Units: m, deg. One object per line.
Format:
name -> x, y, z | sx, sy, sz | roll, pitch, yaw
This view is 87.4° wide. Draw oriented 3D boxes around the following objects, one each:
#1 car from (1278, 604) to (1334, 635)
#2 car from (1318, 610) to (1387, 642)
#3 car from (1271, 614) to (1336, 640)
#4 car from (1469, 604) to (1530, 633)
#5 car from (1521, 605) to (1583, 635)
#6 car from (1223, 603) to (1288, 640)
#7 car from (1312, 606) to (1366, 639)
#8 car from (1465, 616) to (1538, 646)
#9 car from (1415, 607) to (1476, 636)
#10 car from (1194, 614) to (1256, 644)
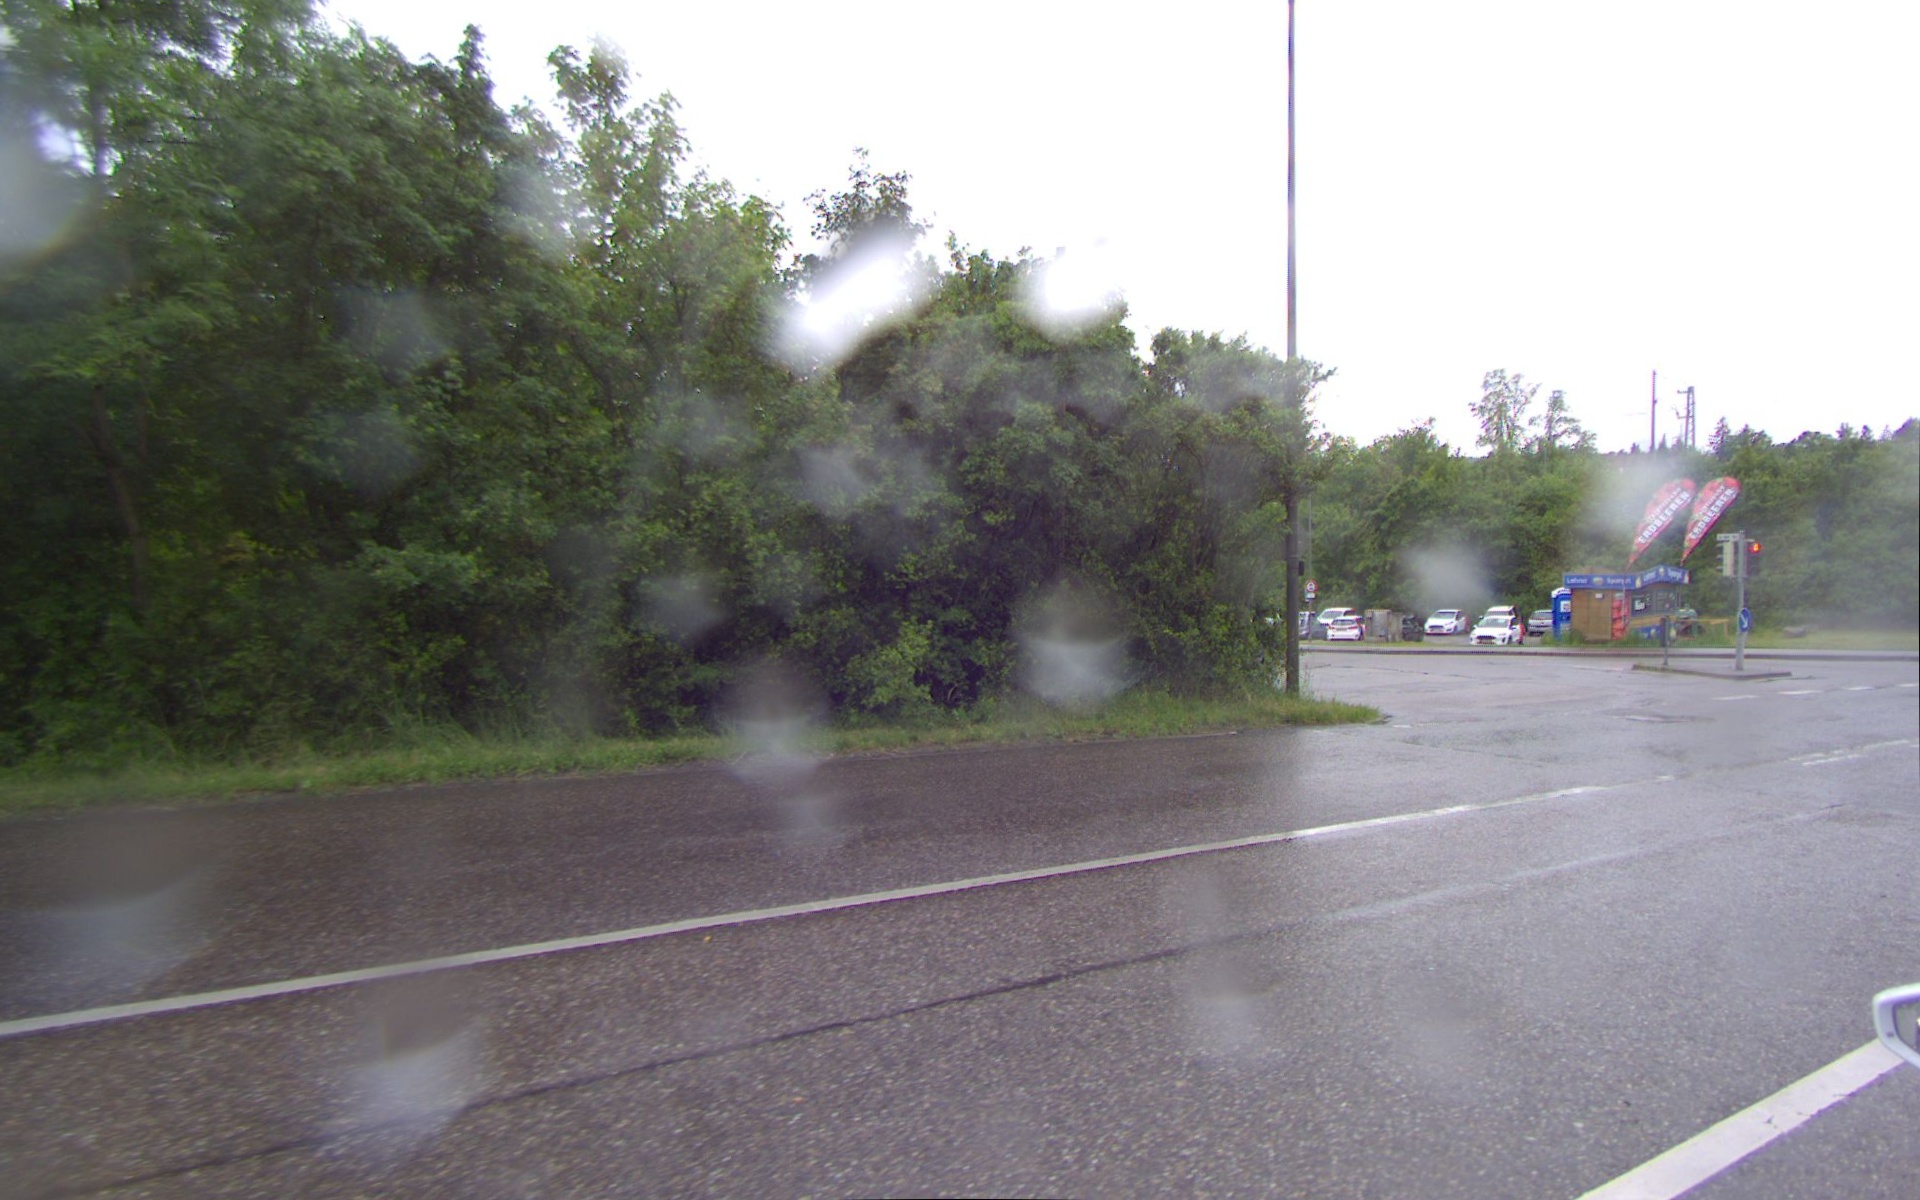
car -> 23.087, 1.289, 66.898 | 3.973, 2.040, 1.974 | 1, -1, -44
car -> 20.923, 1.382, 53.444 | 3.880, 1.606, 1.918 | 2, -1, -43
car -> 18.928, 1.503, 55.251 | 3.972, 1.327, 1.734 | 2, -1, -43
car -> 30.898, 1.053, 57.488 | 3.972, 1.606, 1.975 | 1, -1, -43
car -> 33.194, 1.103, 56.307 | 3.972, 1.606, 1.975 | 1, -1, -43
car -> 16.664, 1.245, 56.496 | 1.971, 1.975, 3.978 | 1, -1, 42
car -> 24.228, 1.398, 64.227 | 1.916, 2.040, 3.846 | 1, 0, 43
car -> 26.330, 1.494, 48.771 | 4.868, 1.358, 1.636 | 2, -1, -43
car -> 28.746, 1.264, 59.424 | 3.972, 1.606, 1.975 | 2, -1, -43
car -> 15.442, 1.688, 58.434 | 1.834, 1.606, 3.978 | 1, -1, 42
